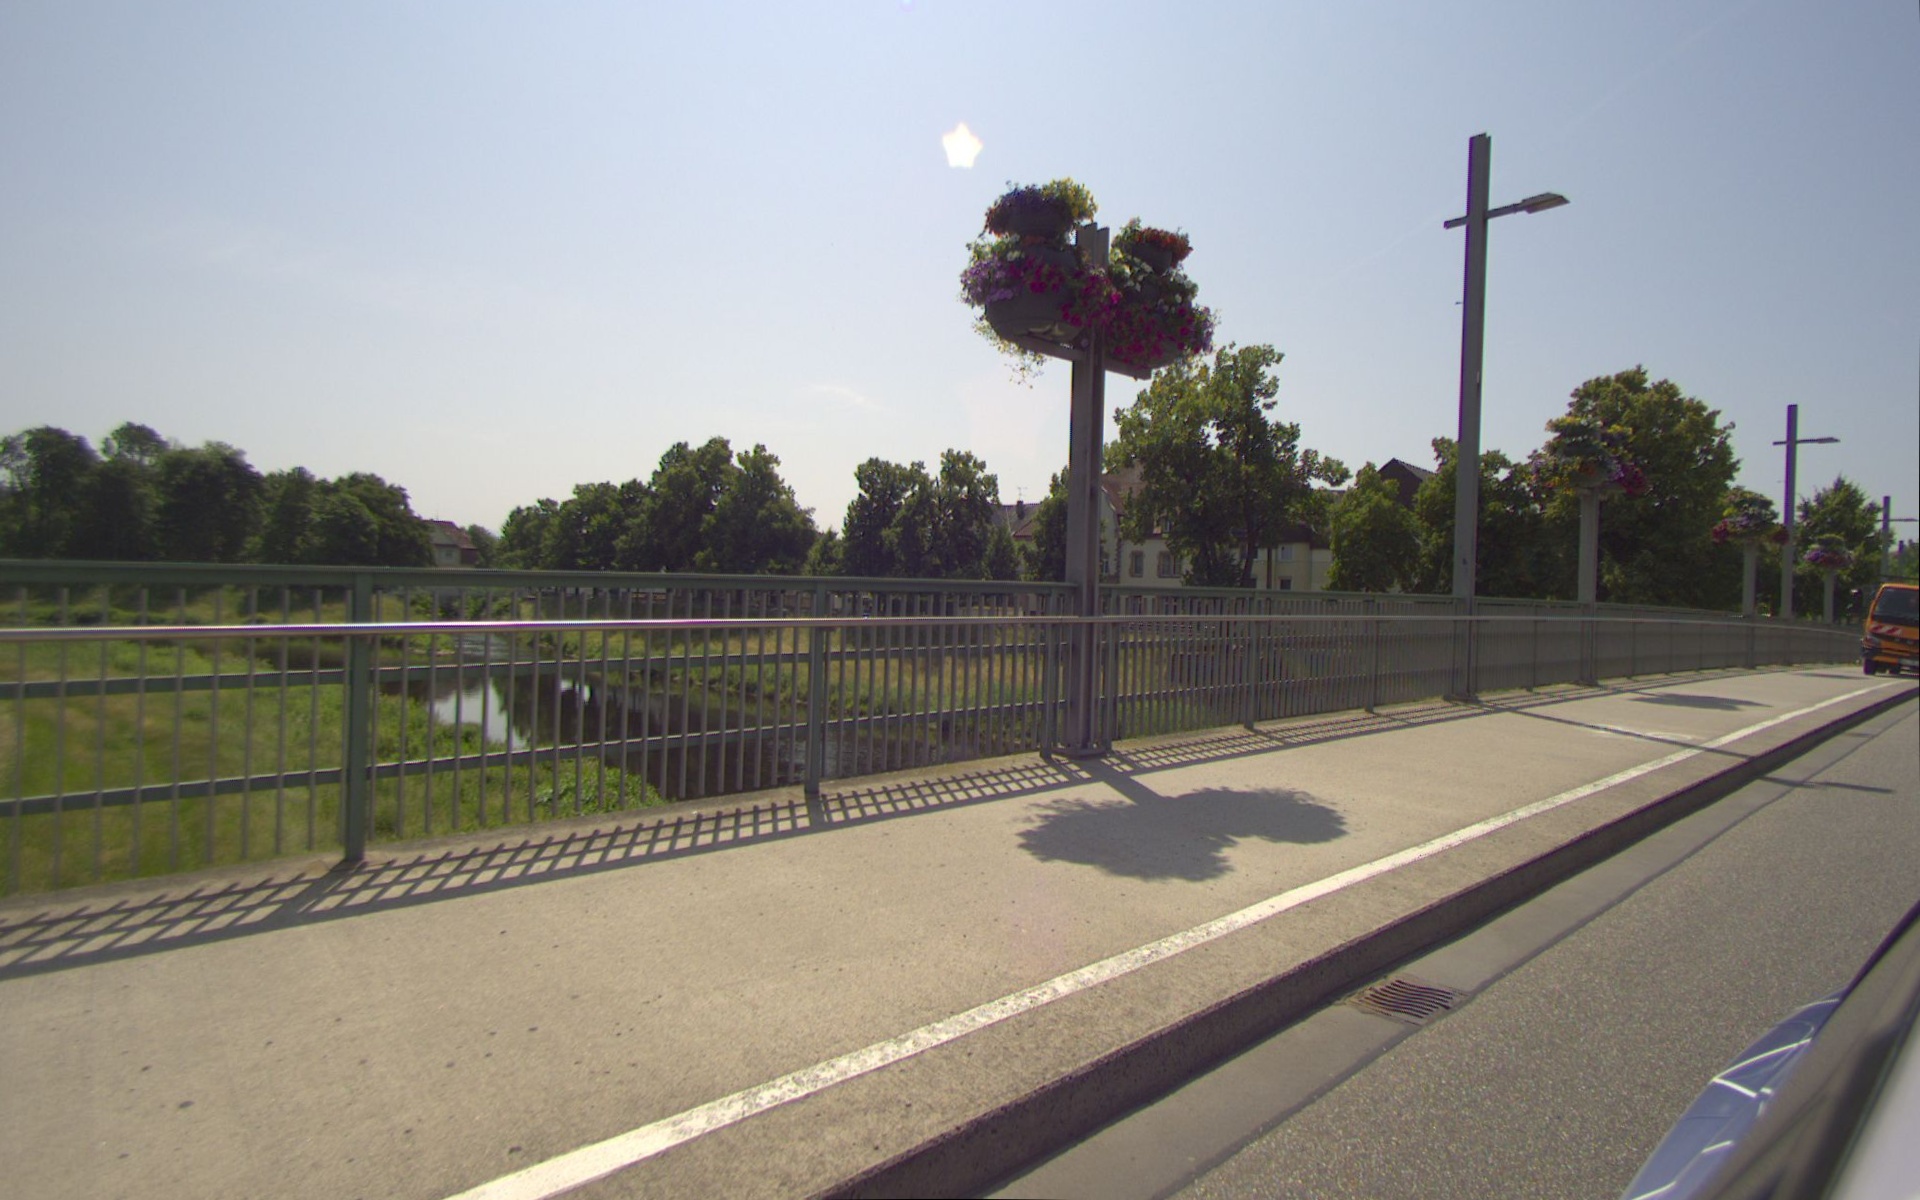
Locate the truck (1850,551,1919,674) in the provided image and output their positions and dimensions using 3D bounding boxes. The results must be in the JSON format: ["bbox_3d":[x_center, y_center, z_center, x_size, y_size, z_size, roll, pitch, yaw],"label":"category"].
[{"bbox_3d":[24.052,0.406,24.693,5.721,2.723,2.612,2,3,-42],"label":"truck"}]
